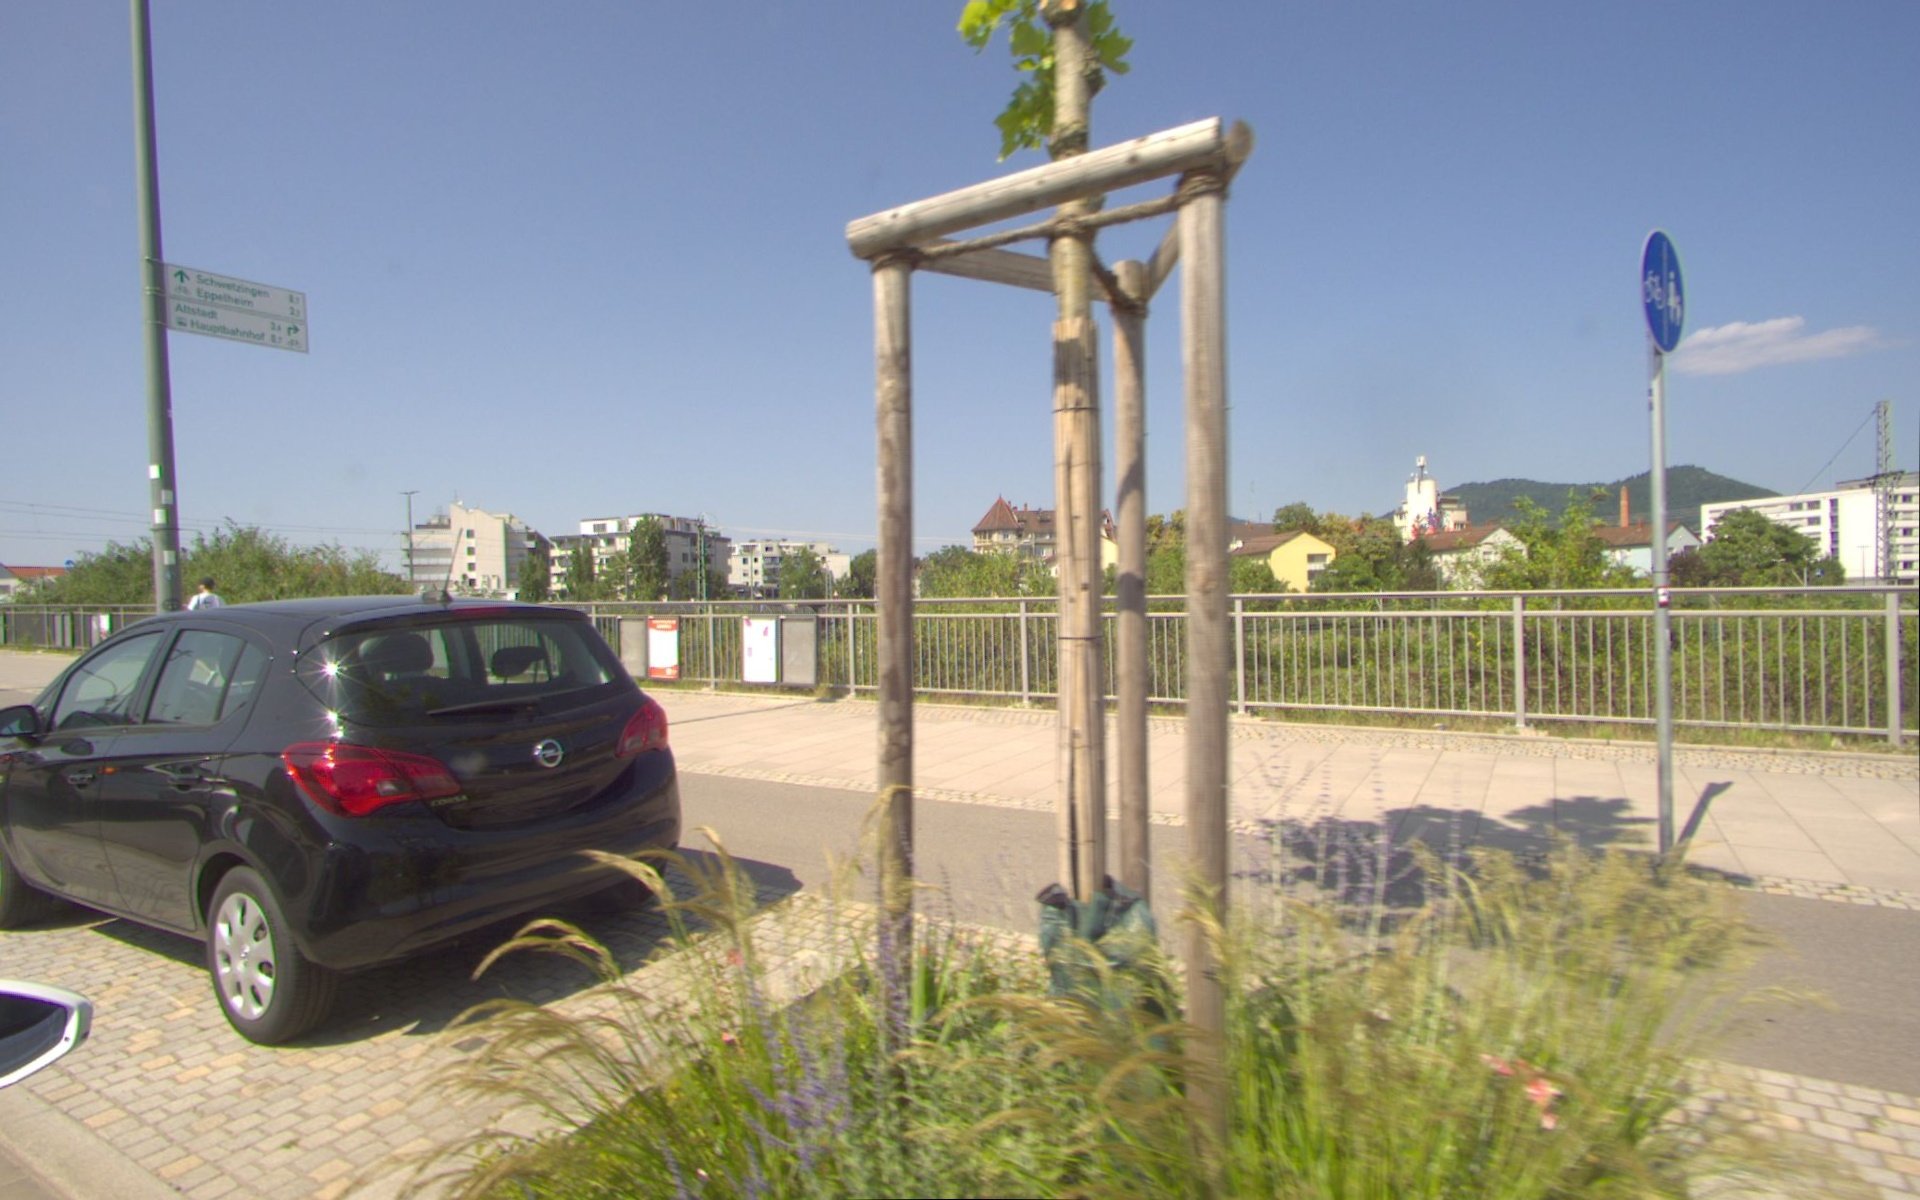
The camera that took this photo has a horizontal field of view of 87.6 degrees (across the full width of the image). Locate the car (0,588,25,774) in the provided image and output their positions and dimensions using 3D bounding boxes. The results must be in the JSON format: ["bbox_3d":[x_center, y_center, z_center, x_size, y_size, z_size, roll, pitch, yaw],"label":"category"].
[{"bbox_3d":[-10.076,0.711,8.845,3.860,1.561,1.666,0,2,32],"label":"car"}]

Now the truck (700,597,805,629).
[{"bbox_3d":[-23.263,1.642,114.220,3.674,3.244,17.874,-1,-2,17],"label":"truck"}]

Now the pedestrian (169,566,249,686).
[{"bbox_3d":[-11.981,0.423,15.978,0.872,1.853,0.757,-1,-2,32],"label":"pedestrian"}]

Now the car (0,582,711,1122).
[{"bbox_3d":[-2.988,0.749,4.563,3.495,1.577,1.577,0,3,32],"label":"car"}]

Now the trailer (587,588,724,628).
[{"bbox_3d":[-28.599,0.946,95.813,3.674,3.244,17.242,-1,-2,17],"label":"trailer"}]

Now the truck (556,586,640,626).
[{"bbox_3d":[-31.305,0.615,86.905,3.672,3.244,6.484,-1,-2,17],"label":"truck"}]
